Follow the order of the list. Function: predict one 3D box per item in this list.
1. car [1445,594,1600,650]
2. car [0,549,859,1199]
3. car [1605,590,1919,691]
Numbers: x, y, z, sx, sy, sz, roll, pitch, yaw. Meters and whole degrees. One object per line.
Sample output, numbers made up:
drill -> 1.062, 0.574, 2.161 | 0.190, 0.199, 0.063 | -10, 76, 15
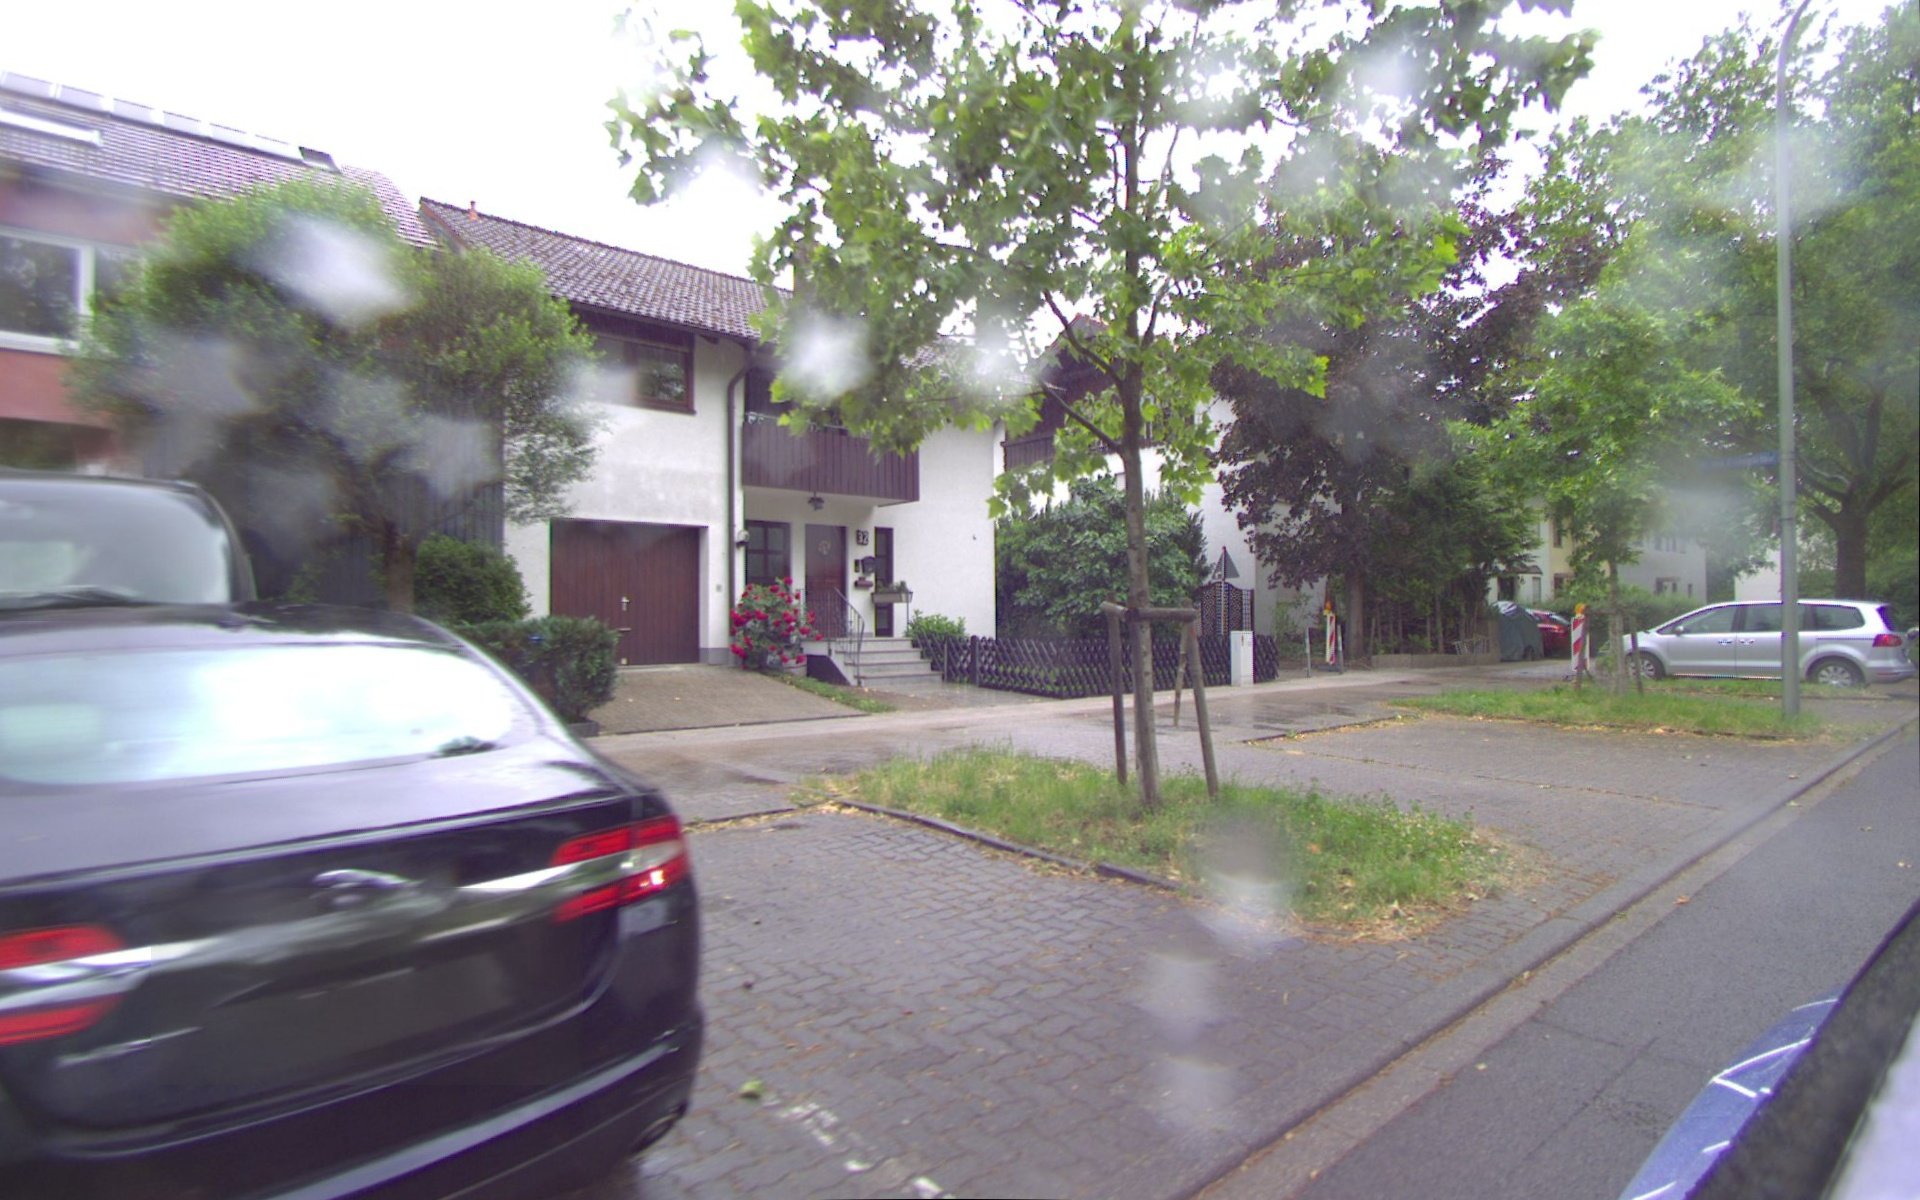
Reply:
car -> 17.512, 0.649, 31.635 | 1.809, 1.633, 3.853 | 1, -1, -38
car -> -2.554, 0.683, 3.273 | 1.905, 1.492, 4.769 | 1, -1, -44
car -> 15.212, 0.695, 19.195 | 1.942, 1.682, 4.694 | 1, -1, -42
